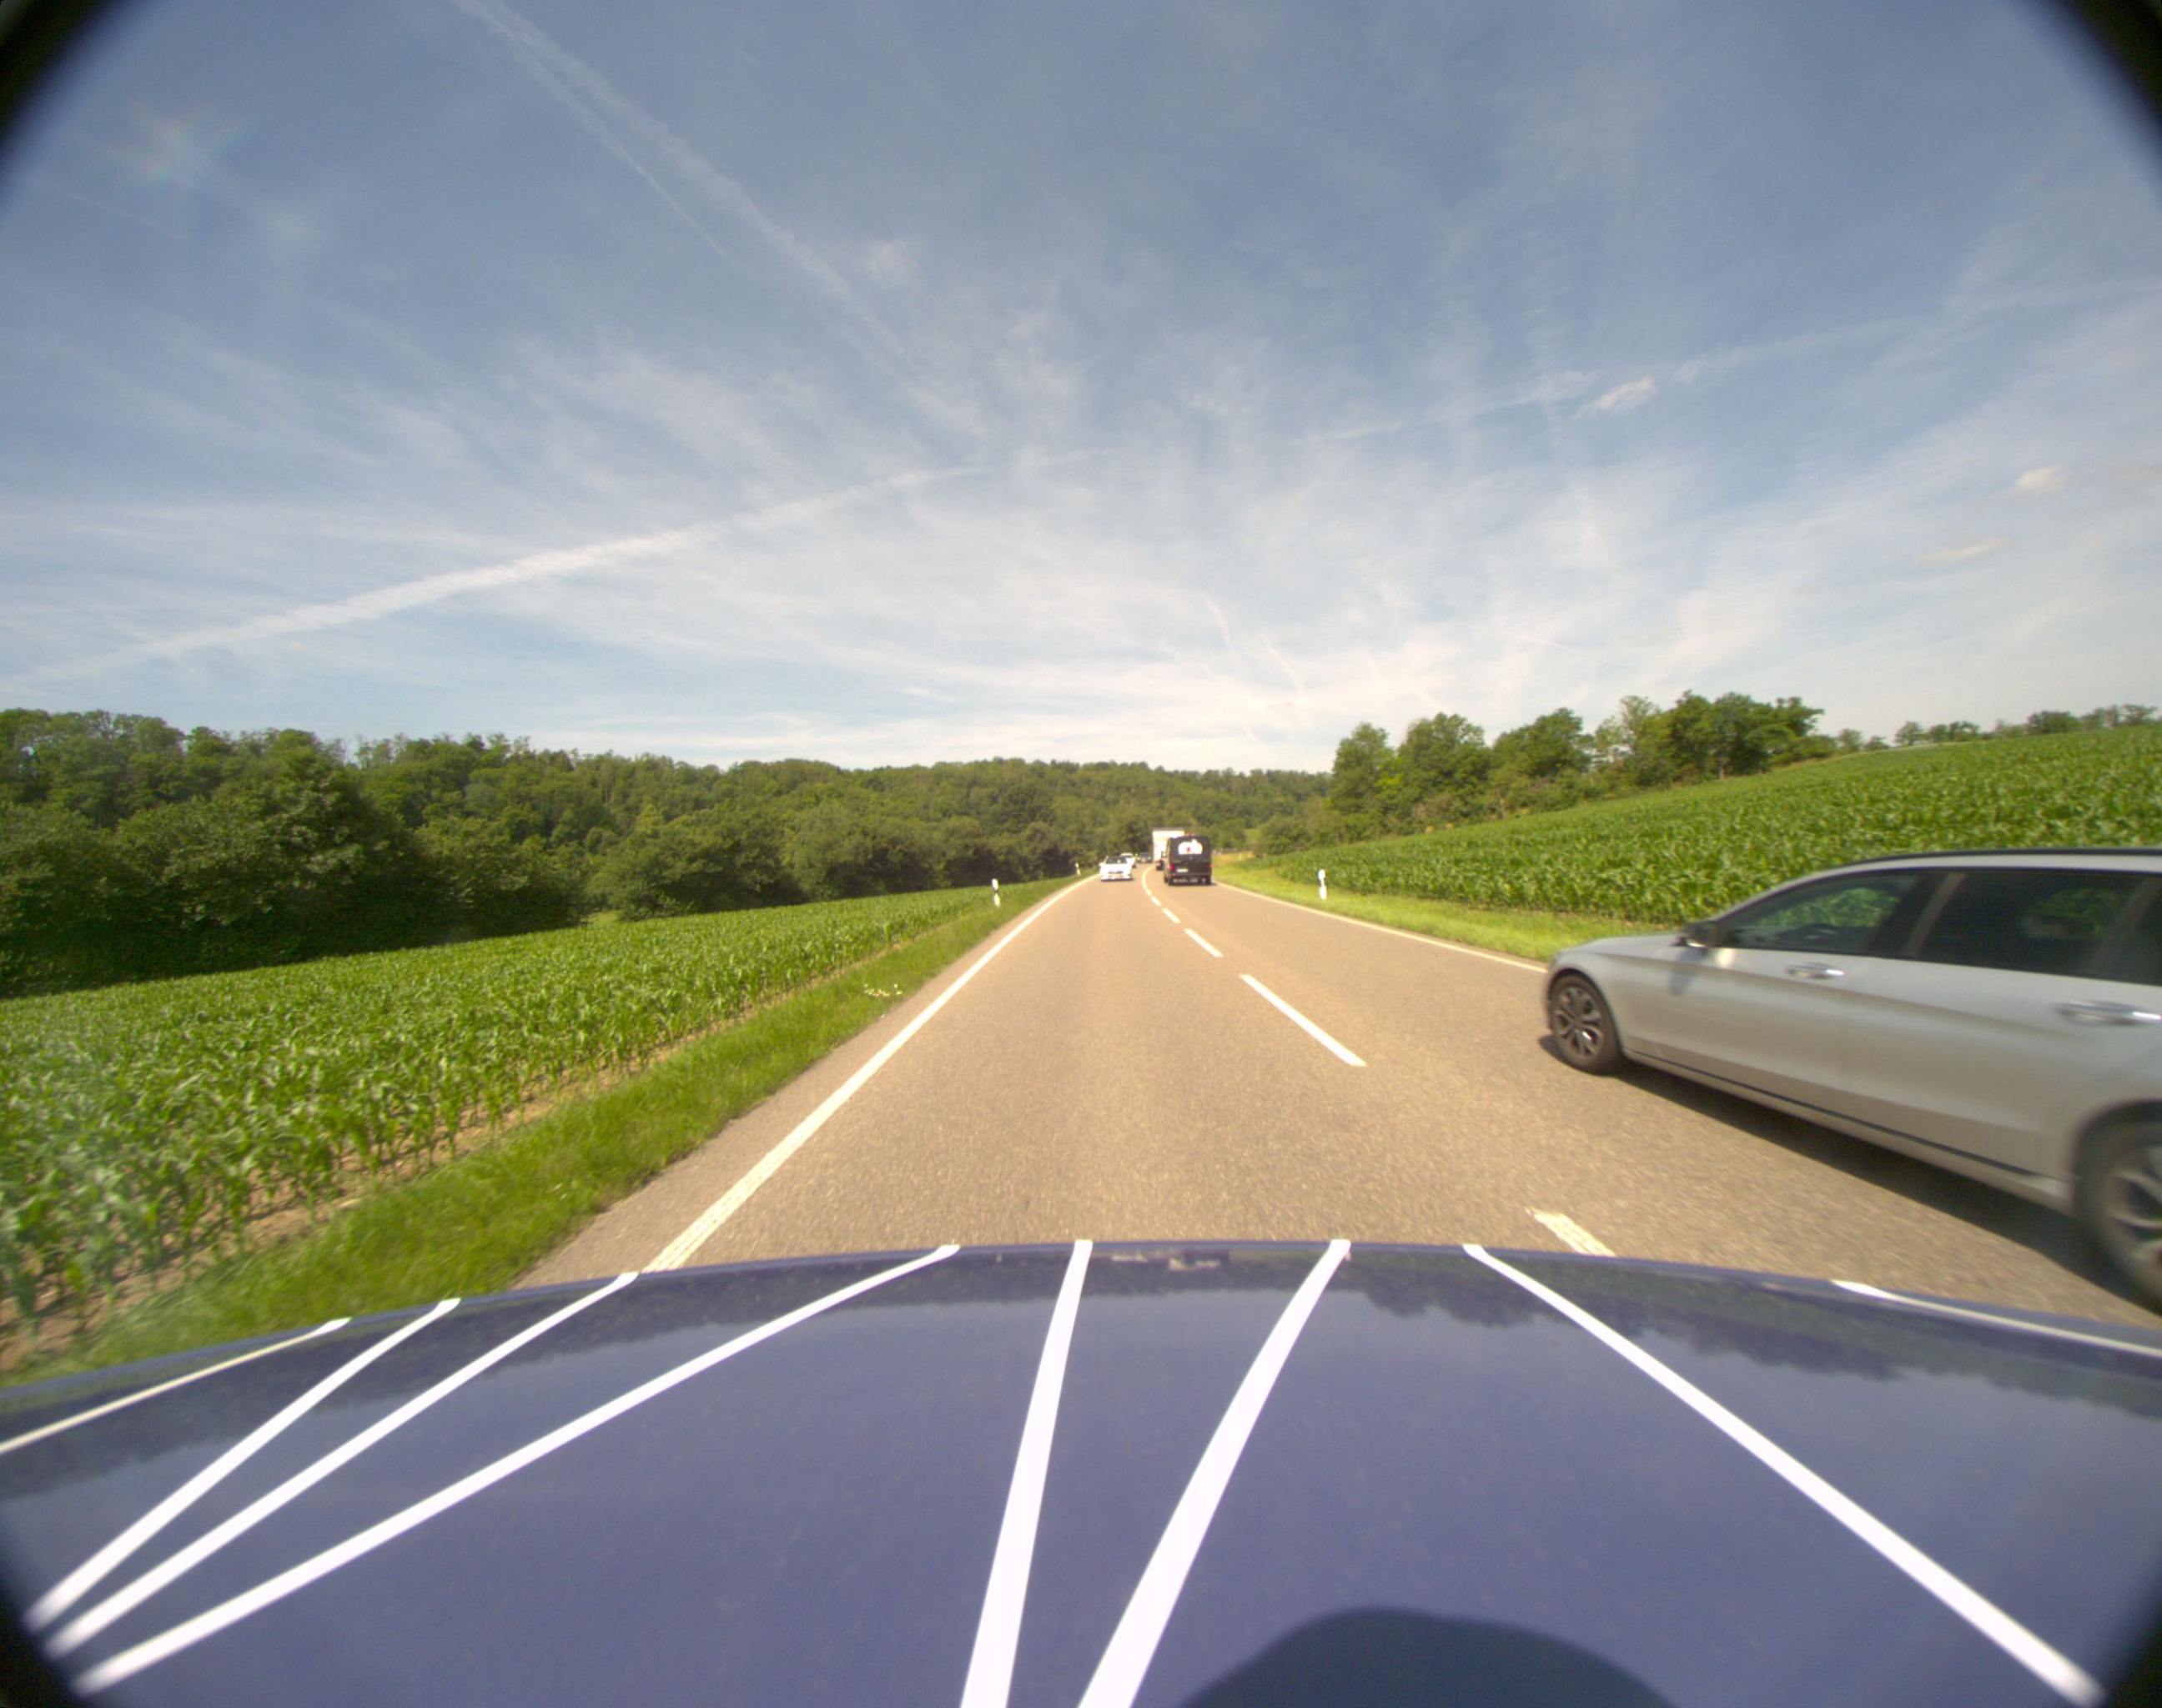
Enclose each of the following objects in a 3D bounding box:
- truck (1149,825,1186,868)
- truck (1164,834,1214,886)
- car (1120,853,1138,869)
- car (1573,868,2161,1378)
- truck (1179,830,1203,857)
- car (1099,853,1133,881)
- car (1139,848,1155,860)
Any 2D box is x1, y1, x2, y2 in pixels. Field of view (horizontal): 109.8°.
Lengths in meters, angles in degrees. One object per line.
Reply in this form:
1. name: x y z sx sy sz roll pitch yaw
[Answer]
1. truck: 7.765 -0.640 69.227 2.747 3.558 9.728 -2 0 3
2. truck: 5.213 0.242 37.265 2.014 2.306 5.193 -2 0 4
3. car: 5.038 0.717 78.743 1.717 1.523 4.000 -2 1 5
4. car: 4.104 0.837 2.898 1.732 1.432 4.176 -2 0 0
5. truck: 18.022 -1.639 123.772 2.775 3.975 17.041 -2 0 12
6. car: 2.154 0.743 45.770 1.742 1.445 4.037 -2 1 6
7. car: 9.078 -0.043 104.261 1.741 1.445 4.038 -2 1 12
